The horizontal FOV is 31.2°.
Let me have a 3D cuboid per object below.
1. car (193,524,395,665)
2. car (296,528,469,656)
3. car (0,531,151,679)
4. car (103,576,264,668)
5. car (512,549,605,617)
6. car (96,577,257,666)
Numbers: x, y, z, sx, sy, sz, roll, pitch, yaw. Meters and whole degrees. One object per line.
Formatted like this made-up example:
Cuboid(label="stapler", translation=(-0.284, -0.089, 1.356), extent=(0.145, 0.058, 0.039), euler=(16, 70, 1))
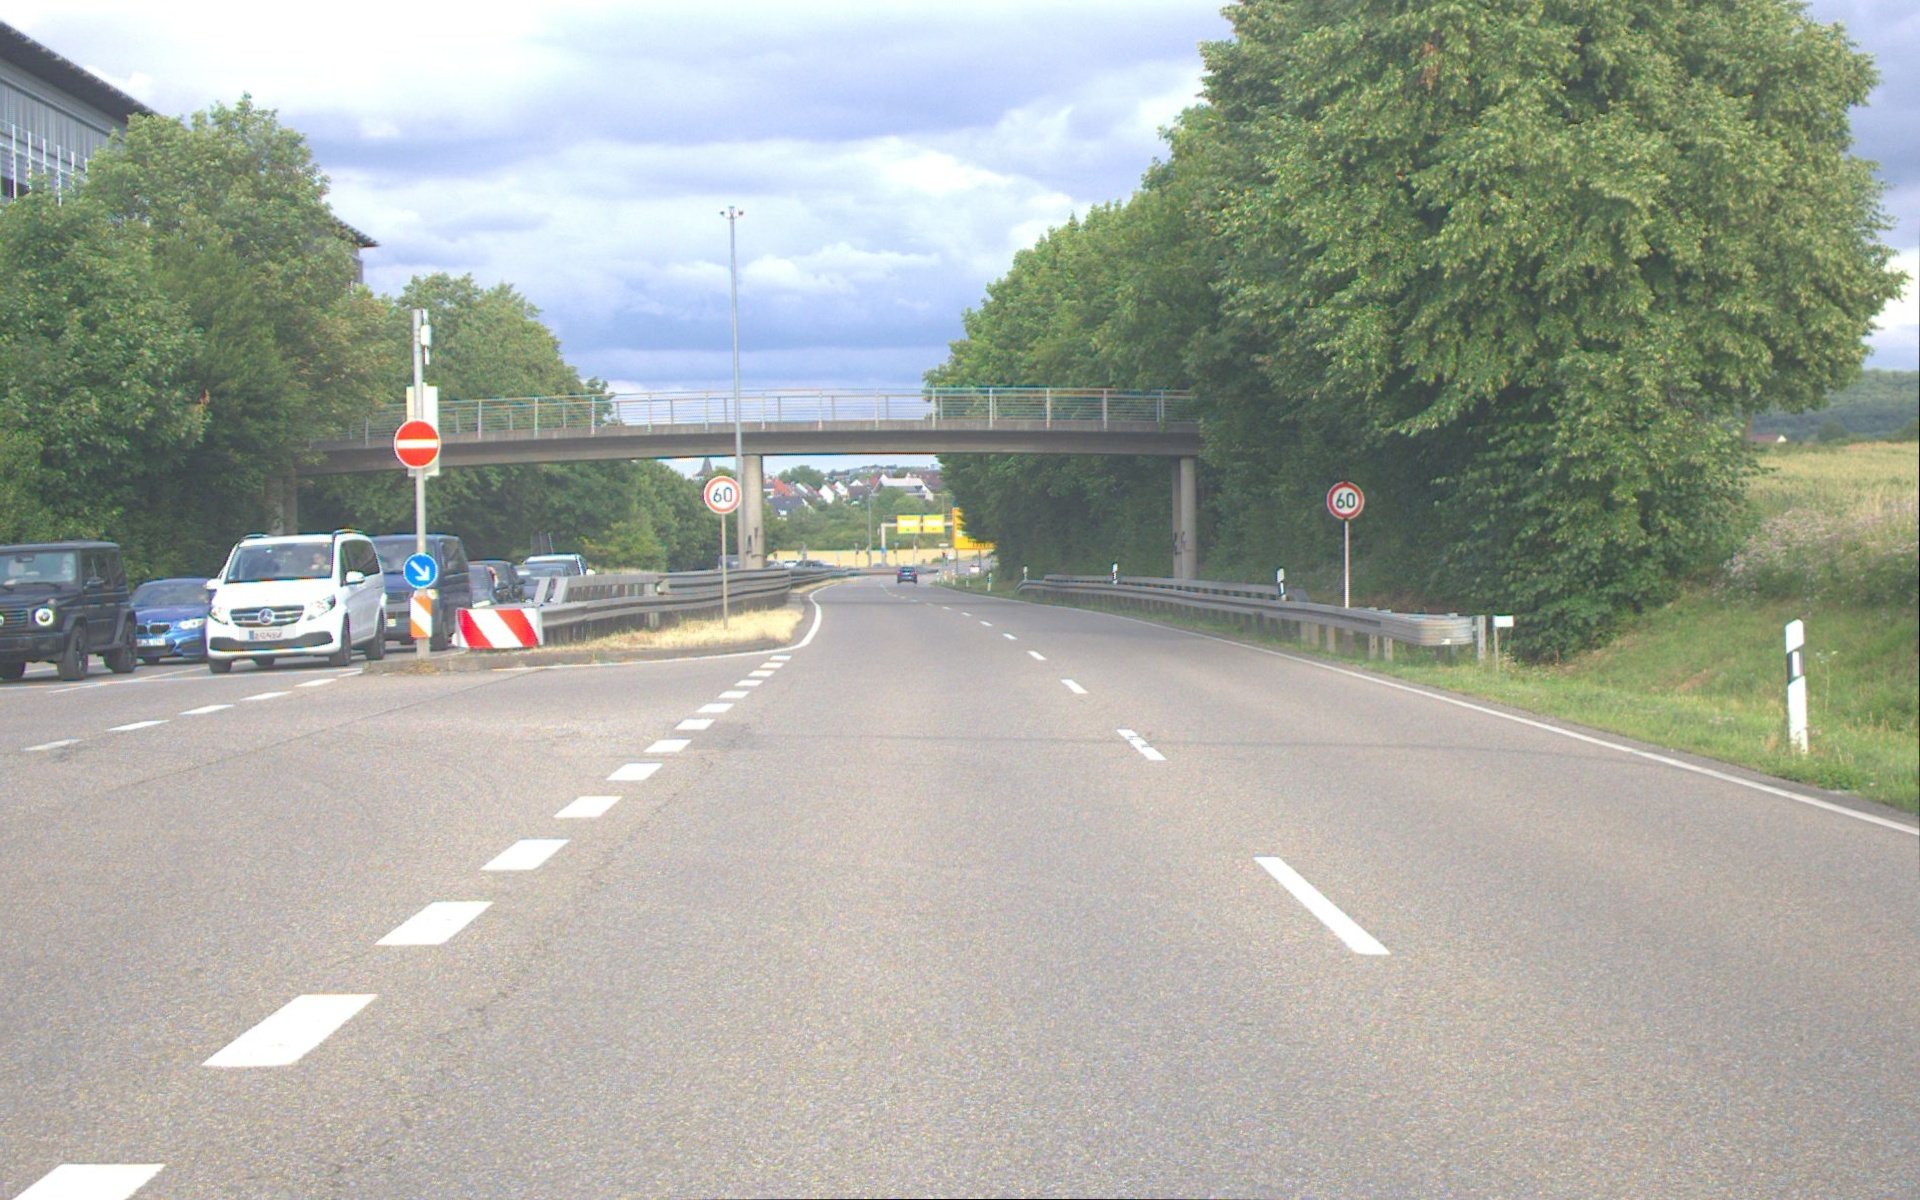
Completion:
Cuboid(label="car", translation=(-9.525, -0.106, 49.558), extent=(1.934, 1.866, 5.347), euler=(-2, 1, -1))
Cuboid(label="car", translation=(-9.520, -0.154, 57.044), extent=(1.898, 1.910, 5.050), euler=(-4, 1, 0))
Cuboid(label="car", translation=(-13.181, 0.060, 49.424), extent=(1.934, 1.983, 5.091), euler=(-2, 1, -1))
Cuboid(label="car", translation=(-12.665, 0.331, 56.299), extent=(1.648, 1.383, 4.186), euler=(-2, 1, 0))
Cuboid(label="car", translation=(-9.938, -0.447, 85.384), extent=(1.822, 1.579, 4.791), euler=(-2, 1, -2))
Cuboid(label="car", translation=(-12.785, 0.324, 56.276), extent=(1.721, 1.236, 4.000), euler=(-4, 1, -1))
